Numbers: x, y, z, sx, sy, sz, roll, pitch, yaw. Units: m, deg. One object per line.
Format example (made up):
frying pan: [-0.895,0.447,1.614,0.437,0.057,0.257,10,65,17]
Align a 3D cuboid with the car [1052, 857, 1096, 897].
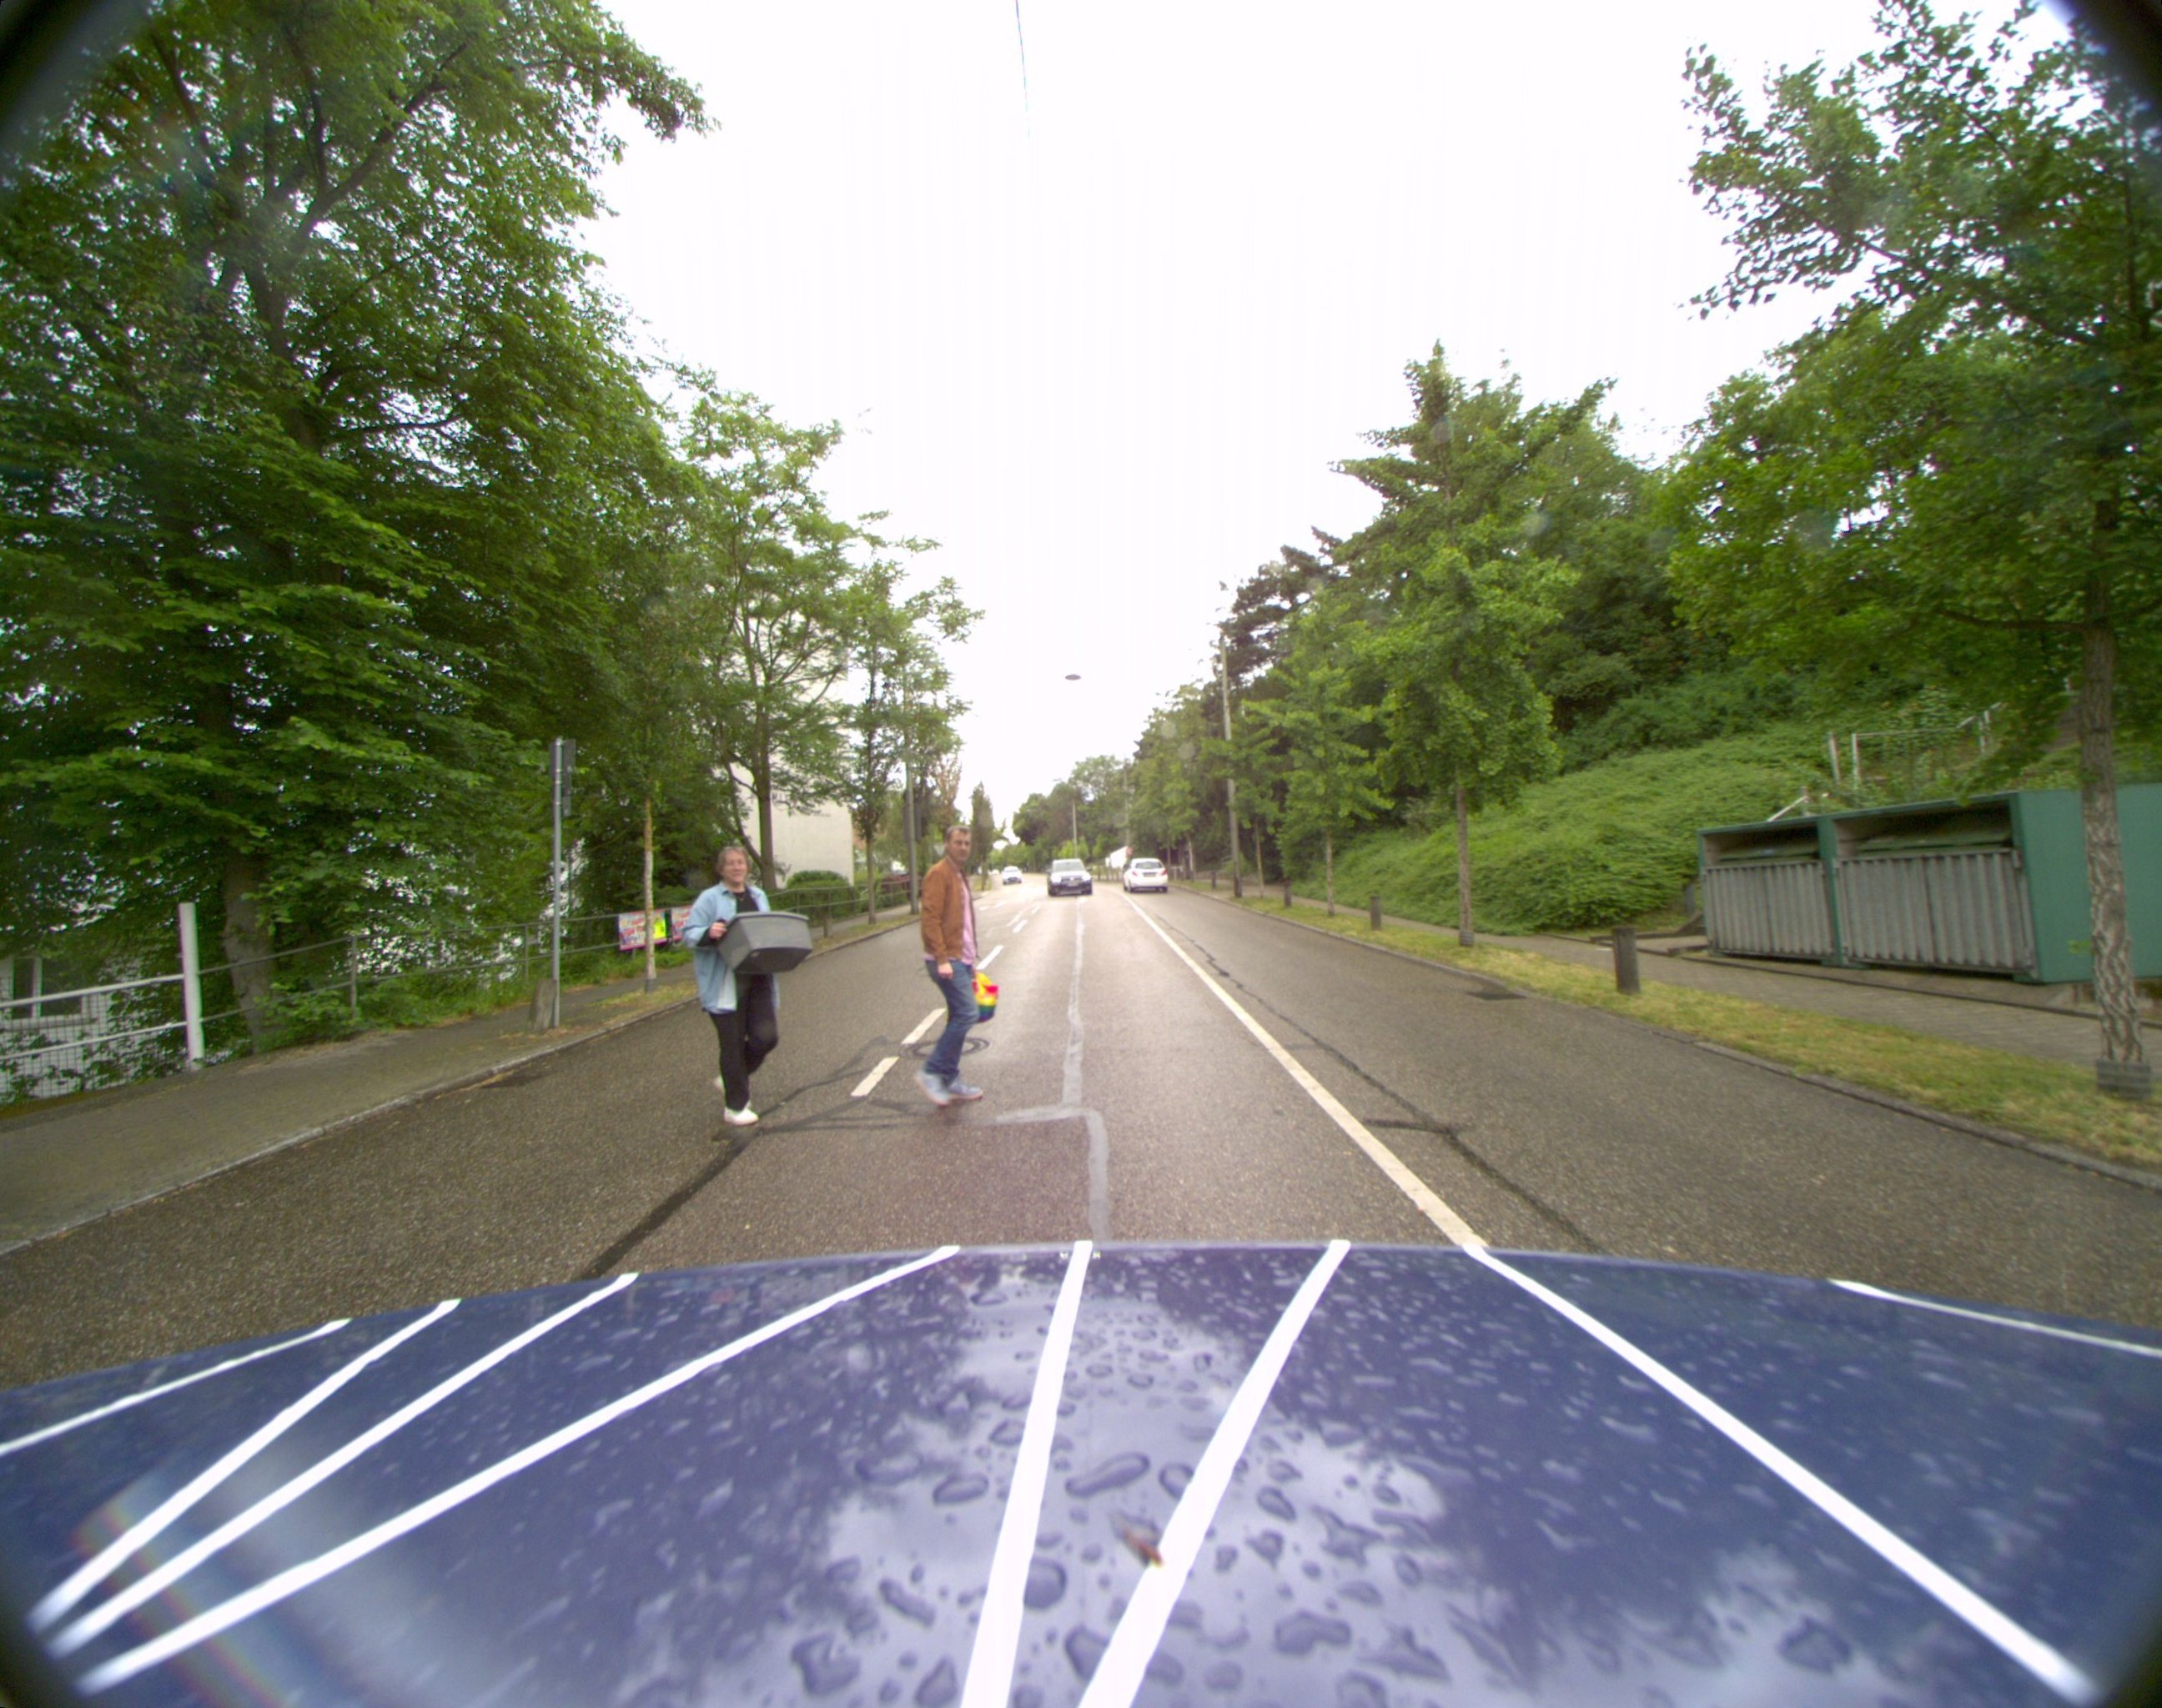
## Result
car: [-0.318,1.000,35.014,1.834,1.608,4.292,-3,1,0]

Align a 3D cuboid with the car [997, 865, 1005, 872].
car: [-21.577,3.916,204.762,1.893,1.710,4.234,-1,1,-6]

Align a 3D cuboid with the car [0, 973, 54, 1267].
car: [-6.342,1.379,1.706,1.999,1.426,4.442,-3,0,-1]

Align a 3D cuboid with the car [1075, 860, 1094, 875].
car: [0.356,1.298,73.794,1.782,1.440,4.000,0,0,0]

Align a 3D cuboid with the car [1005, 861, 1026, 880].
car: [-6.600,1.644,77.016,1.834,1.608,4.349,-3,1,-2]

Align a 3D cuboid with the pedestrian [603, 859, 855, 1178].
pedestrian: [-2.218,0.967,4.860,1.071,1.772,0.825,-4,1,22]

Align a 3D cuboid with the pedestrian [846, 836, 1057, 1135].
pedestrian: [-0.837,0.779,5.070,1.071,1.772,0.826,-1,1,24]

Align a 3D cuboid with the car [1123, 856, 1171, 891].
car: [2.982,0.858,34.979,1.714,1.522,3.841,0,0,-2]
